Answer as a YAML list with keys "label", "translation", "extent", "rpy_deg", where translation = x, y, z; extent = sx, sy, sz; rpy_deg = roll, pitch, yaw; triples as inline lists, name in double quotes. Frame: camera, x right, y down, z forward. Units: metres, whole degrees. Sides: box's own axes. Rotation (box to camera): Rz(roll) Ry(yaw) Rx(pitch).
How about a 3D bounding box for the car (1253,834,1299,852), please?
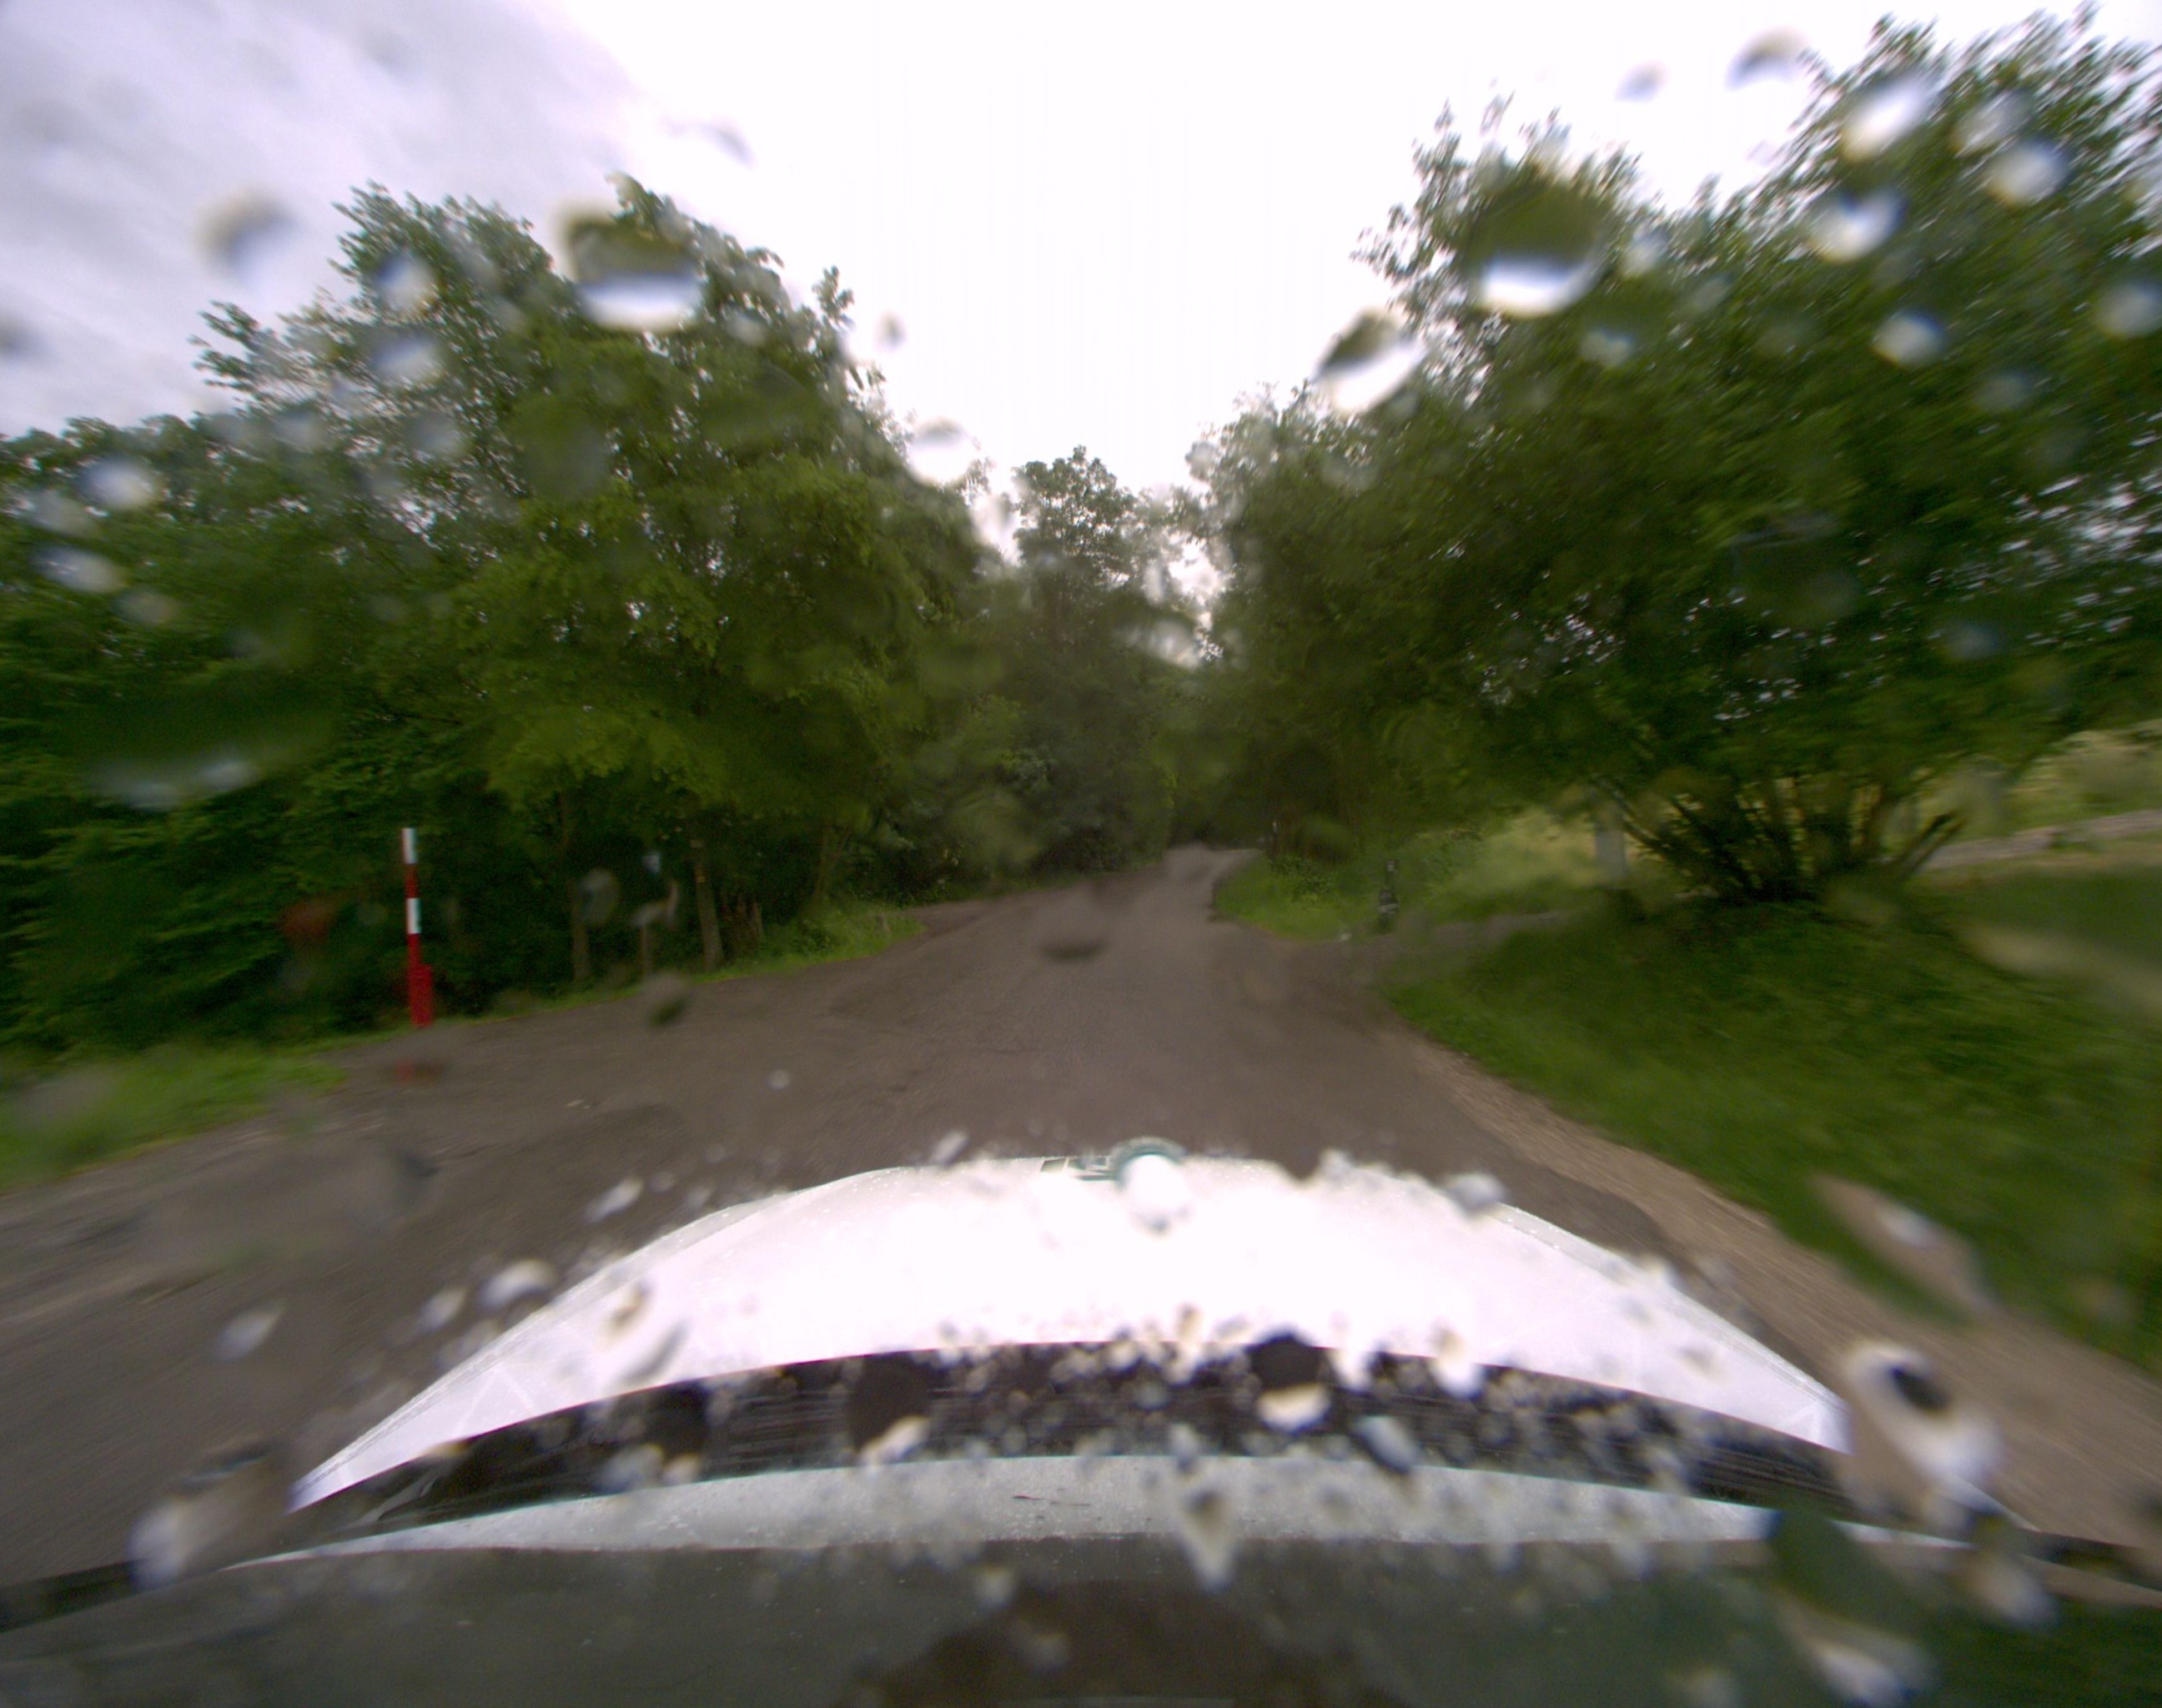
- label: "car"
  translation: [17.774, -1.001, 74.388]
  extent: [3.961, 1.390, 2.006]
  rpy_deg: [-4, 0, 11]
